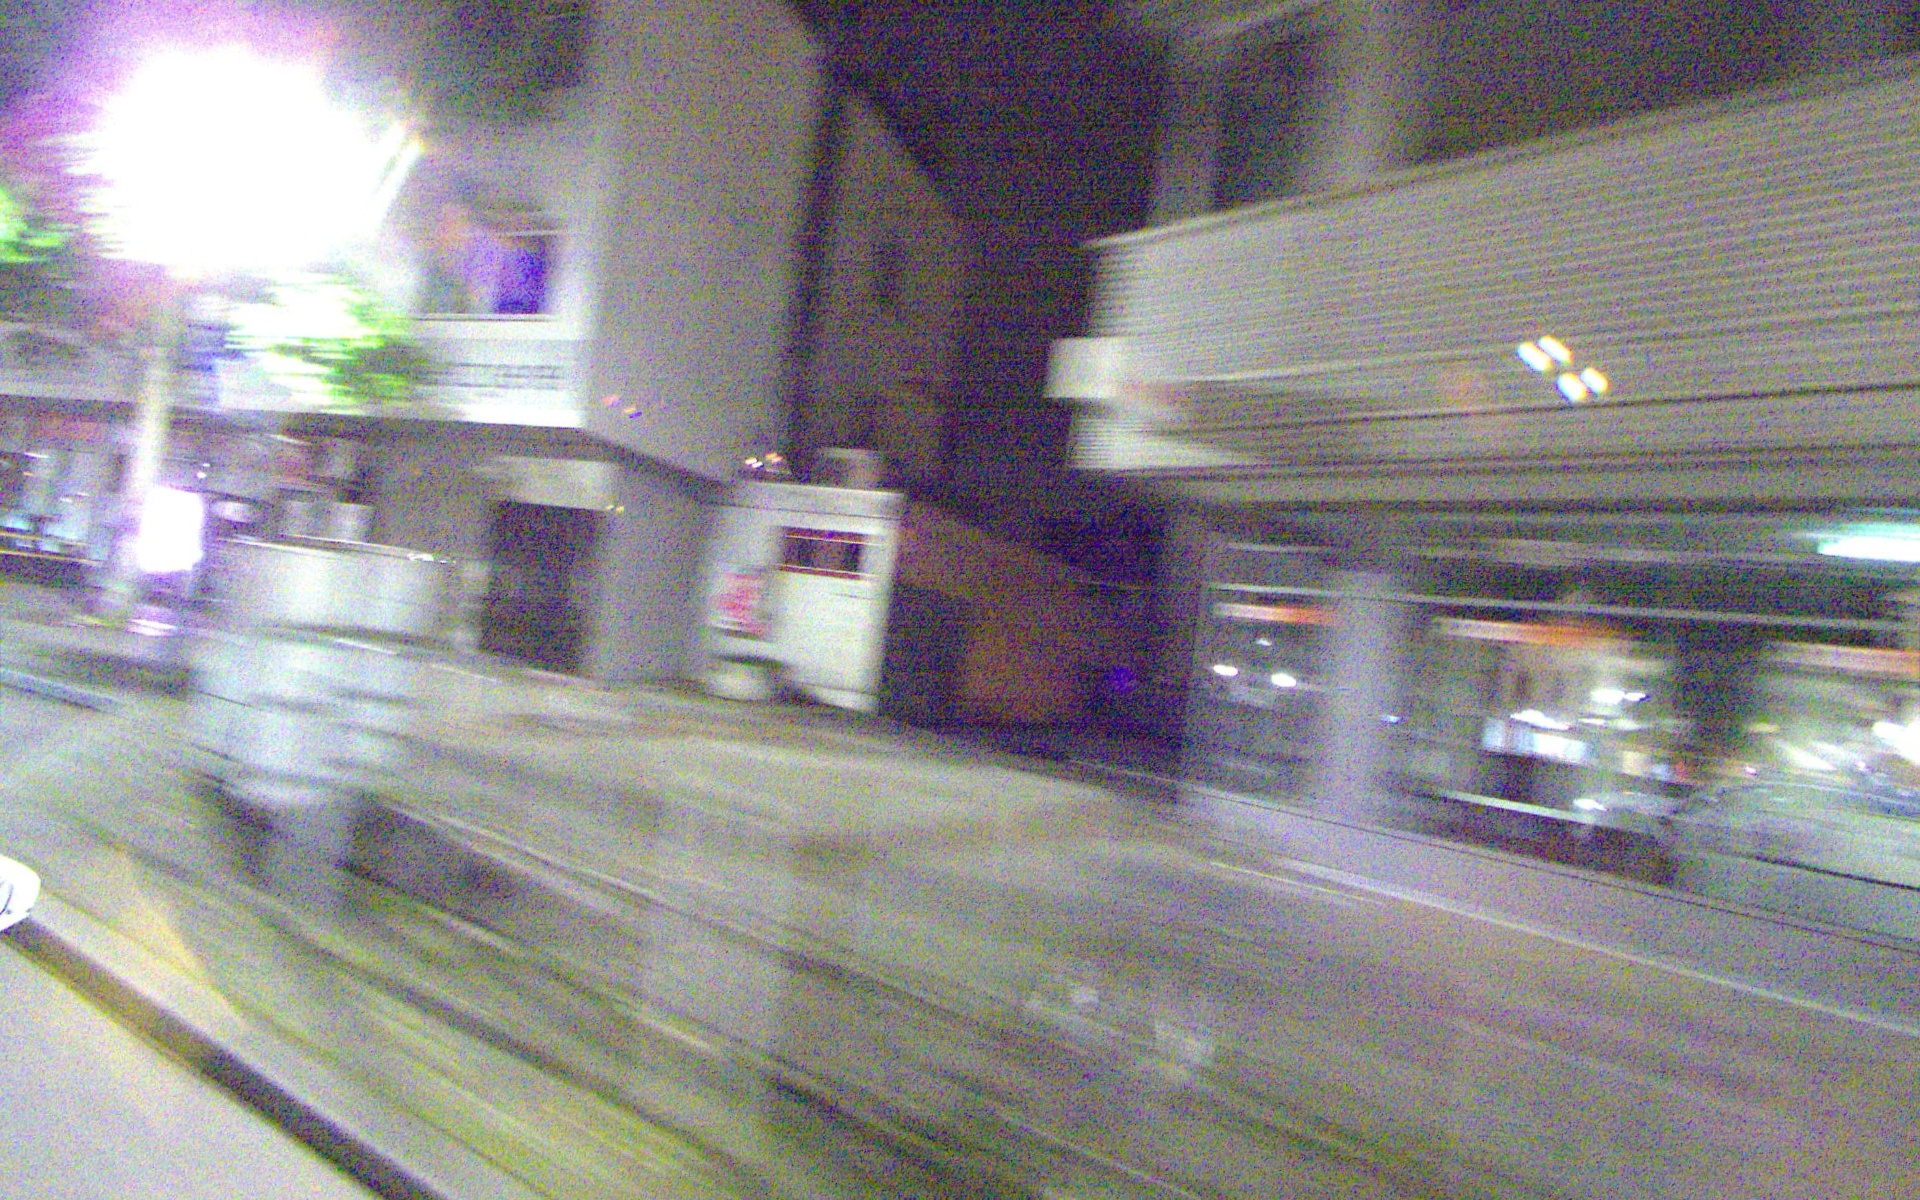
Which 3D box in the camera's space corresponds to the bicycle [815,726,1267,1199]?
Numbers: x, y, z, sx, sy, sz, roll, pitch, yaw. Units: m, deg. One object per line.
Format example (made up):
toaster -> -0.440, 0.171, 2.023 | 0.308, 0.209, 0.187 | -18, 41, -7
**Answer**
bicycle -> 0.361, 0.955, 2.668 | 0.643, 1.075, 1.756 | 8, -1, 20
